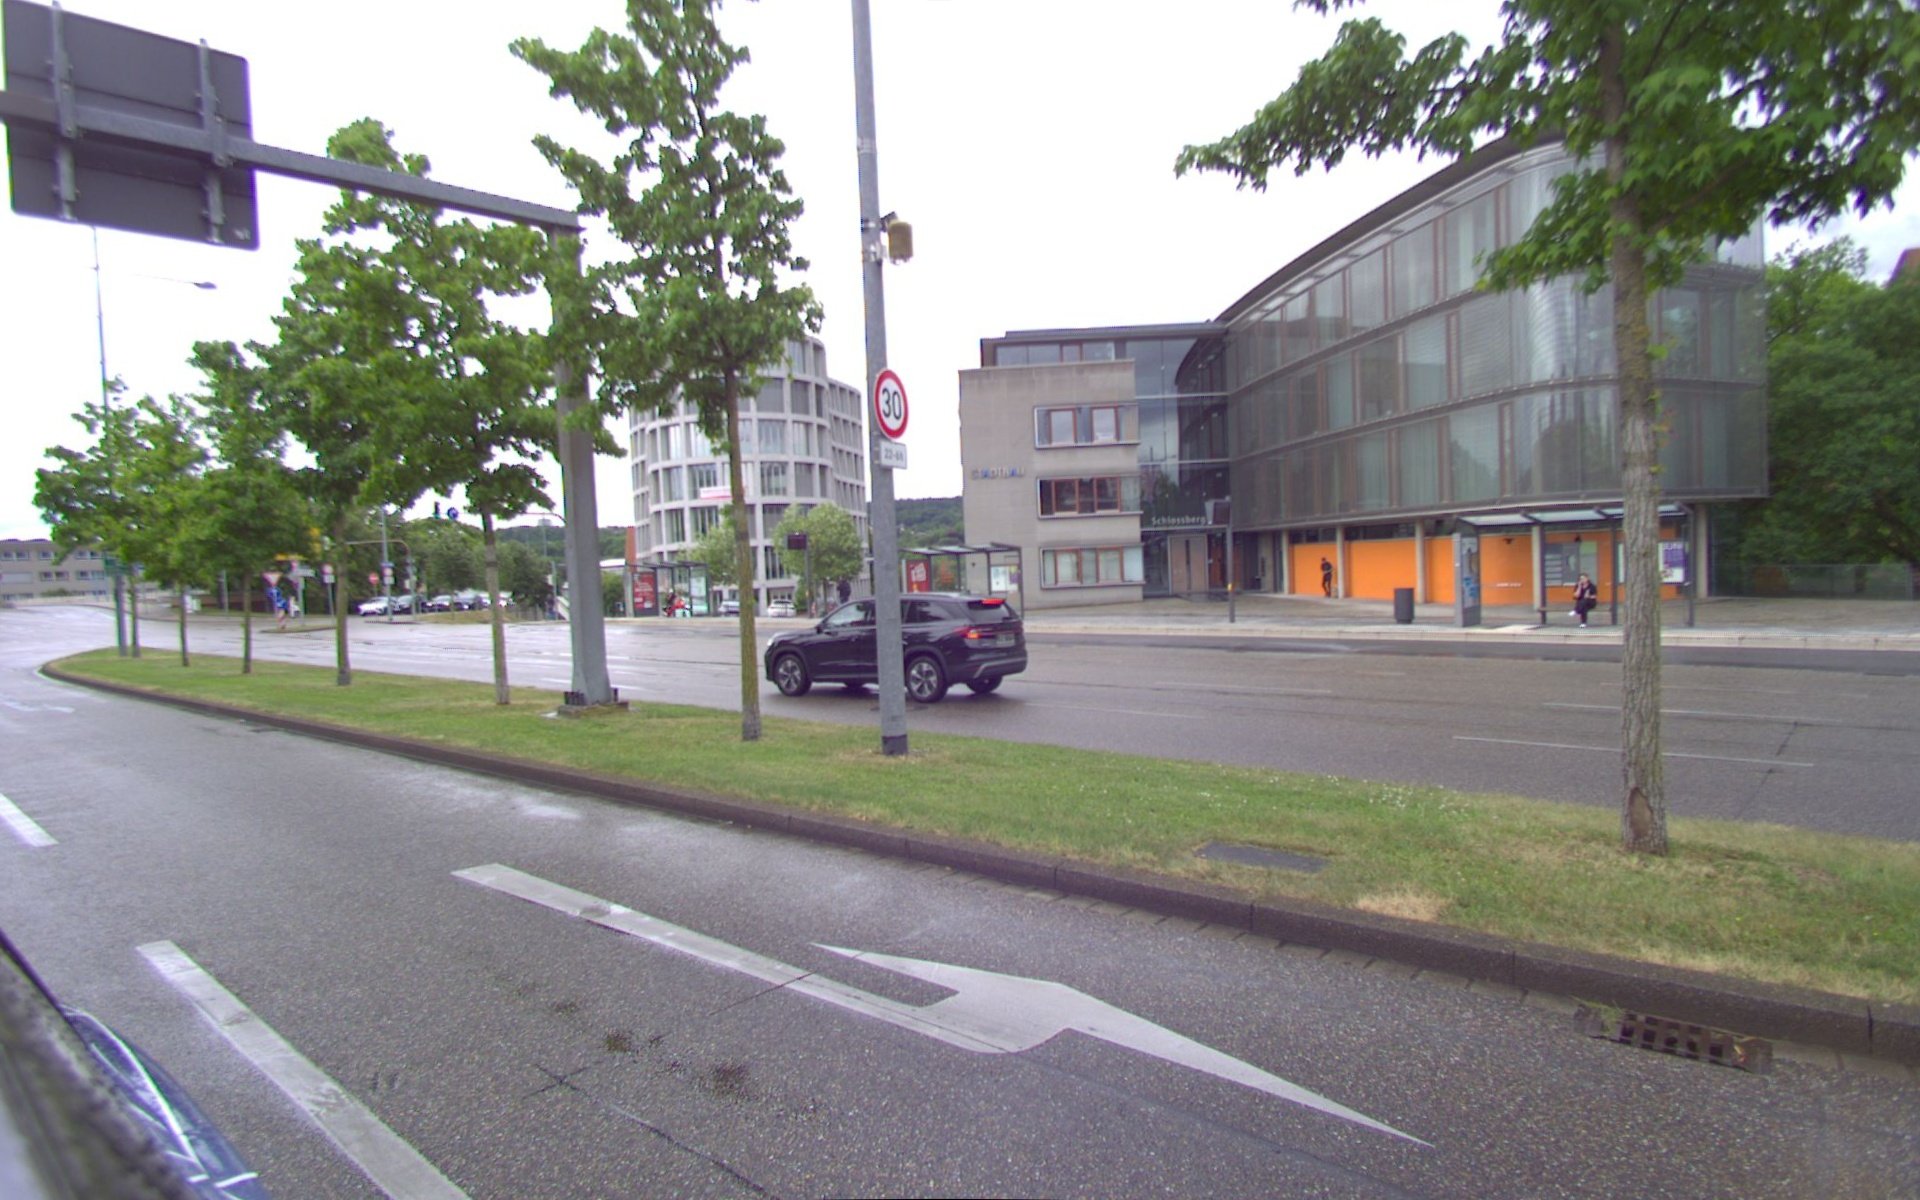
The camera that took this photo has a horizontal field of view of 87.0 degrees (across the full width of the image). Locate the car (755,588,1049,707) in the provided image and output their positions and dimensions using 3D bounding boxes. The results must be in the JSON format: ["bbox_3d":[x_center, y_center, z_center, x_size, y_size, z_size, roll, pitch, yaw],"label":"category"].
[{"bbox_3d":[-1.012,0.705,16.359,4.587,1.652,1.807,-1,0,34],"label":"car"}]

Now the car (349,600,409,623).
[{"bbox_3d":[-46.578,0.867,81.265,2.164,1.725,4.919,-1,0,-2],"label":"car"}]

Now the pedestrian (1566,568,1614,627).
[{"bbox_3d":[14.609,-0.048,23.480,0.790,1.334,0.793,-1,0,42],"label":"pedestrian"}]

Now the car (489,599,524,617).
[{"bbox_3d":[-47.703,0.833,106.413,2.161,1.725,4.926,-2,0,-38],"label":"car"}]

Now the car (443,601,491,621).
[{"bbox_3d":[-45.303,1.015,93.155,2.164,1.725,4.920,-1,0,-3],"label":"car"}]

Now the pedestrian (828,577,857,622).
[{"bbox_3d":[-4.787,-0.015,41.294,0.964,1.773,0.783,-1,0,12],"label":"pedestrian"}]

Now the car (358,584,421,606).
[{"bbox_3d":[-56.720,-0.521,100.753,4.963,2.029,2.311,-1,0,0],"label":"car"}]

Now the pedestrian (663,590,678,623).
[{"bbox_3d":[-14.558,0.305,50.901,0.535,1.647,0.514,-1,0,41],"label":"pedestrian"}]

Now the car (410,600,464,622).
[{"bbox_3d":[-44.299,0.902,85.855,2.164,1.725,4.919,-1,0,-3],"label":"car"}]

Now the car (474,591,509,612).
[{"bbox_3d":[-46.227,0.176,99.965,1.969,2.029,4.005,-1,-1,-6],"label":"car"}]

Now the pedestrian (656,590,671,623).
[{"bbox_3d":[-14.729,0.311,50.333,0.501,1.647,0.497,-1,0,41],"label":"pedestrian"}]

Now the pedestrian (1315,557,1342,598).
[{"bbox_3d":[15.243,-0.914,41.874,0.697,1.666,0.852,-1,0,-6],"label":"pedestrian"}]

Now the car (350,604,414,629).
[{"bbox_3d":[-43.624,1.231,76.483,2.164,1.725,4.919,-1,0,-3],"label":"car"}]
